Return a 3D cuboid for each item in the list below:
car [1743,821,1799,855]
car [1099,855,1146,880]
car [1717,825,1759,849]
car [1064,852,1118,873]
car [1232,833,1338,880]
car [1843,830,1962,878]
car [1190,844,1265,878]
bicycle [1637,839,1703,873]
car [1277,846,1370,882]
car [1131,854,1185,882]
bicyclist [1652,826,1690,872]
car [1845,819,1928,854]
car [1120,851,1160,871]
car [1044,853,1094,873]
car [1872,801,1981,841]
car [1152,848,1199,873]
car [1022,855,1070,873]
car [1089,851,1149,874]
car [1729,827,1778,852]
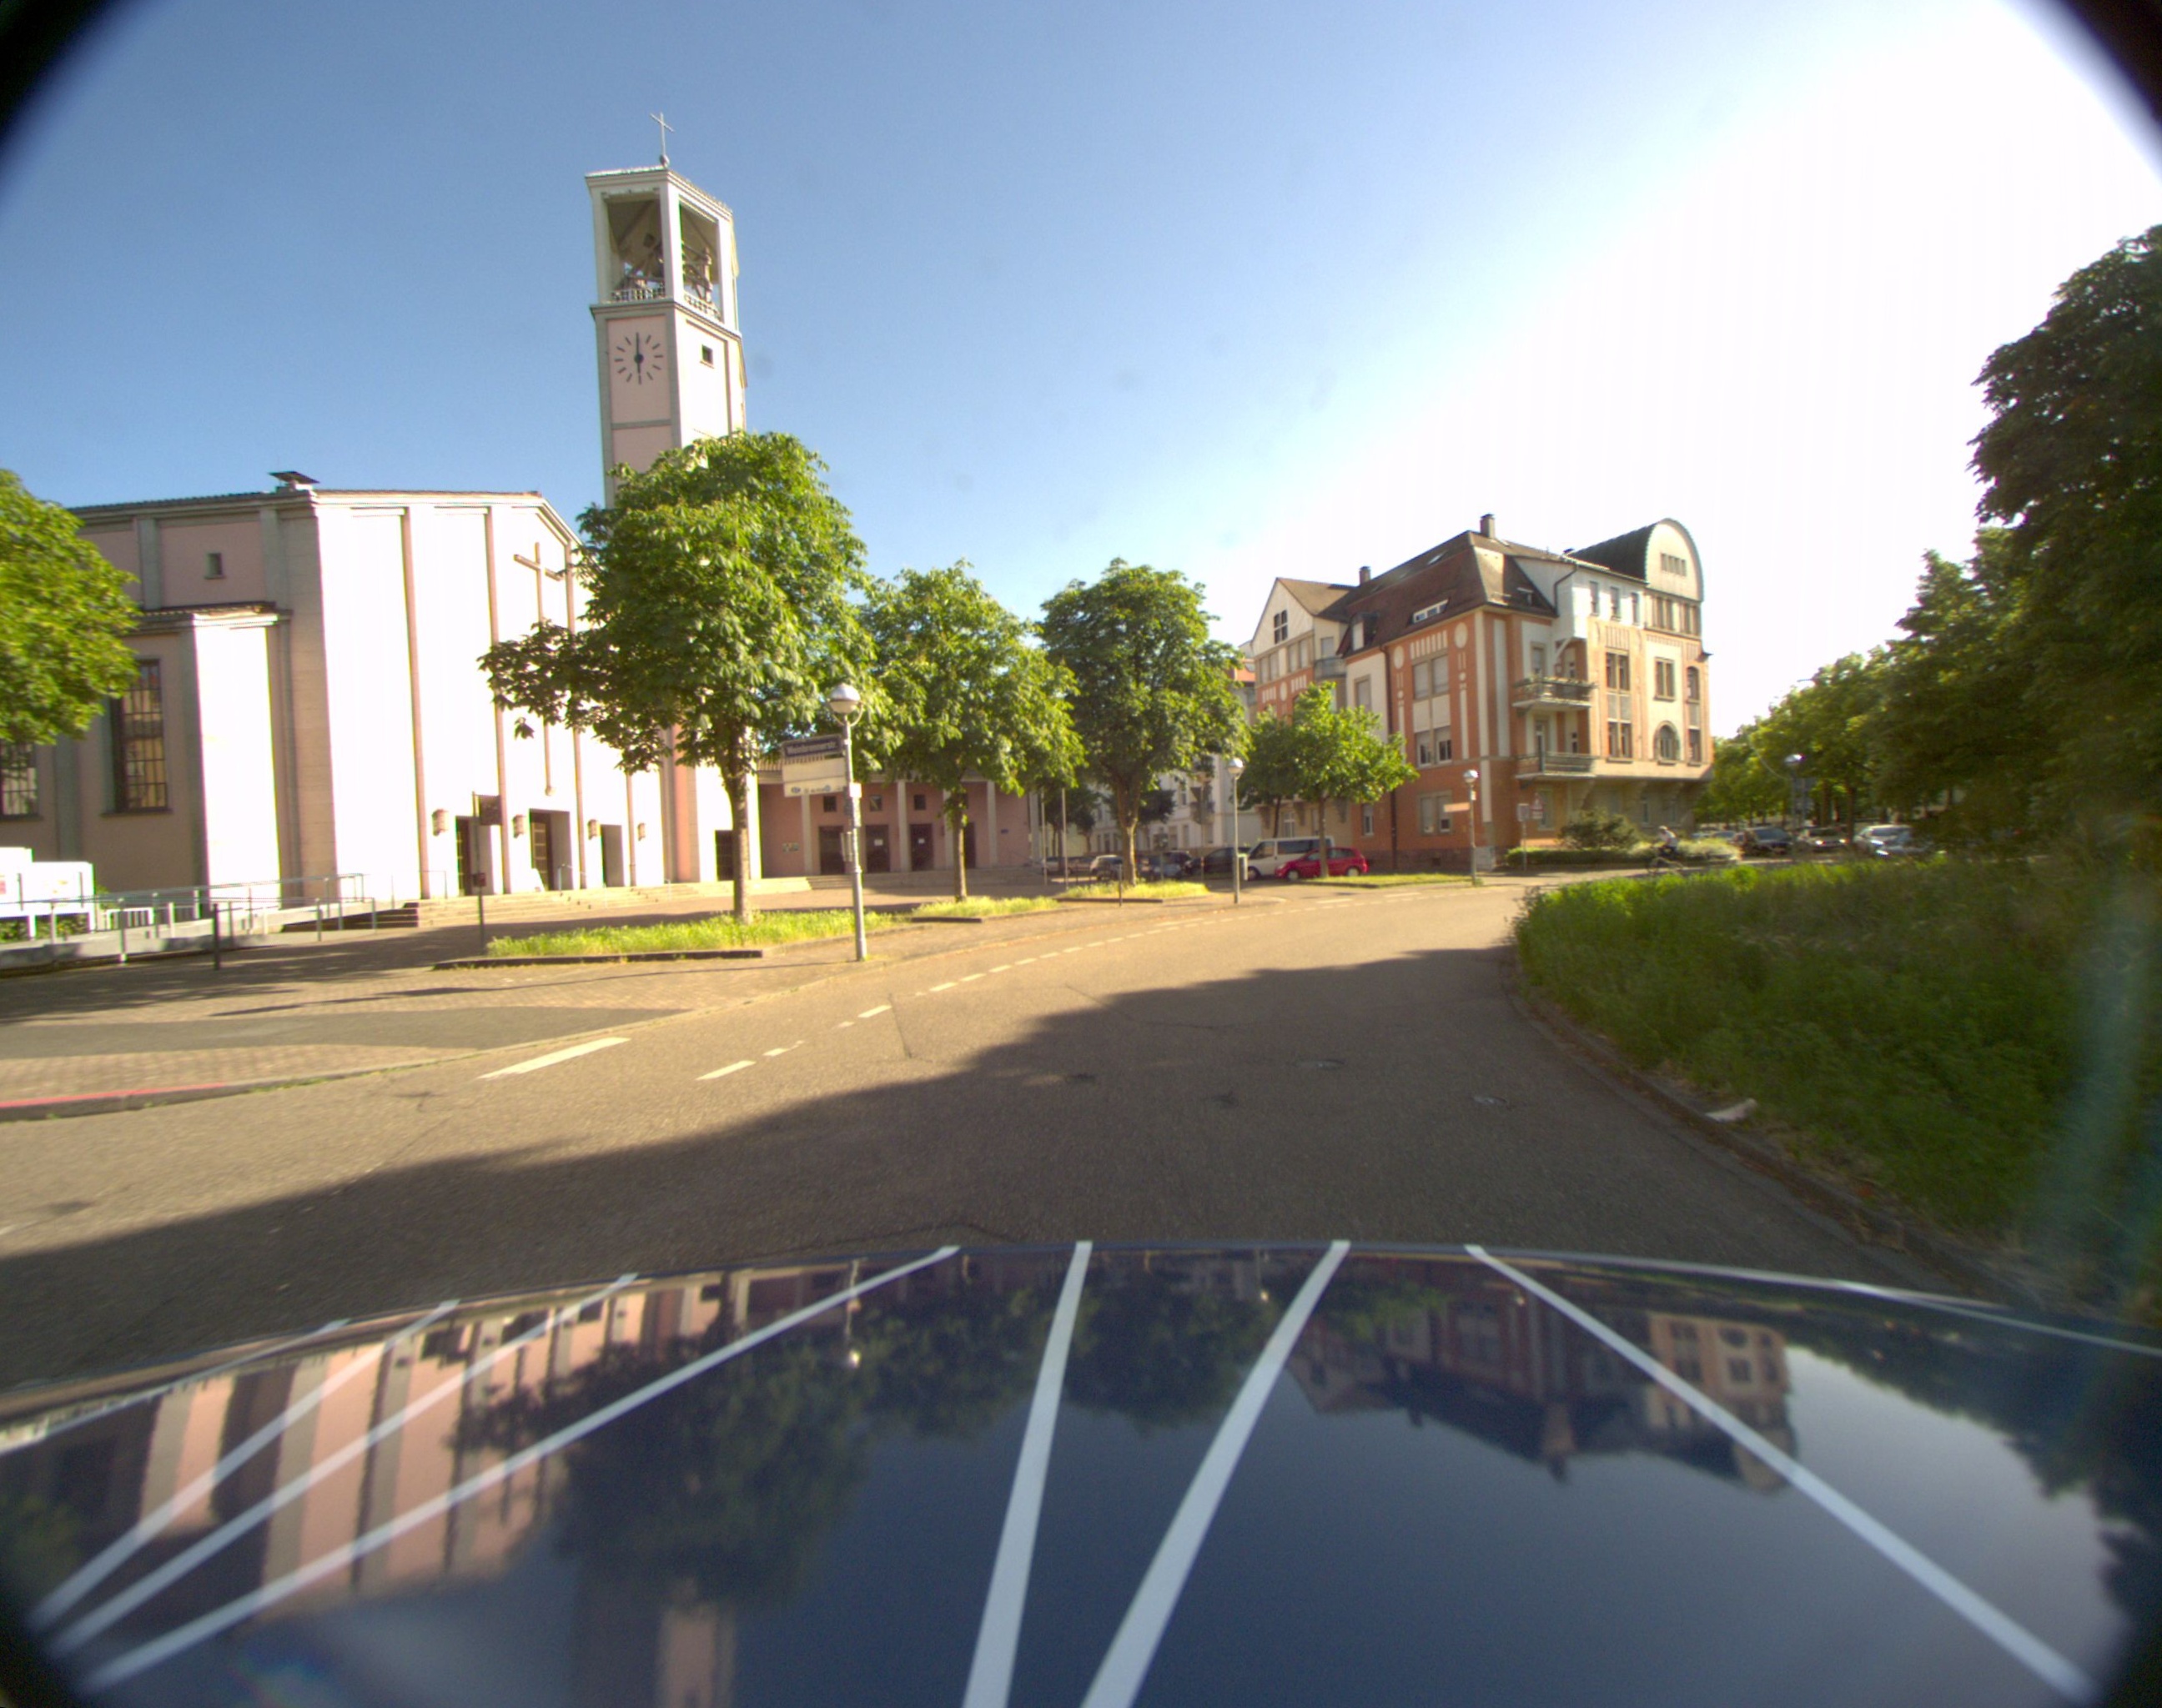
[{"bbox_3d":[40.052,-0.930,44.189,1.794,1.756,4.217,-5,-1,35],"label":"car"},{"bbox_3d":[2.504,0.809,46.413,1.615,1.414,3.608,-2,0,-18],"label":"car"},{"bbox_3d":[47.891,-1.239,55.490,1.794,1.546,4.217,-5,-1,35],"label":"car"},{"bbox_3d":[0.798,0.699,60.628,3.947,1.488,1.763,-2,1,17],"label":"car"},{"bbox_3d":[9.714,0.115,36.336,4.697,2.033,1.996,-2,1,15],"label":"car"},{"bbox_3d":[27.296,-0.026,25.419,1.793,1.426,4.217,-3,-1,35],"label":"car"},{"bbox_3d":[8.108,0.370,42.091,3.949,1.728,1.763,-2,1,12],"label":"car"},{"bbox_3d":[22.288,0.085,28.753,1.868,1.191,0.765,-3,1,0],"label":"bicycle"},{"bbox_3d":[10.603,0.417,33.437,3.690,1.427,1.670,-2,1,12],"label":"car"},{"bbox_3d":[4.202,0.729,42.048,1.615,1.414,3.608,-2,0,-18],"label":"car"},{"bbox_3d":[22.301,-0.203,28.732,0.812,1.686,0.765,-3,1,0],"label":"bicyclist"},{"bbox_3d":[37.480,-0.810,35.458,1.793,1.426,4.217,-3,-1,35],"label":"car"},{"bbox_3d":[4.621,0.536,59.807,1.762,1.447,3.949,-2,0,-17],"label":"car"},{"bbox_3d":[-1.071,0.779,66.115,3.947,1.488,1.763,-2,1,17],"label":"car"},{"bbox_3d":[57.953,-2.242,52.185,1.989,2.476,4.586,-2,0,-23],"label":"car"},{"bbox_3d":[6.719,0.449,54.352,1.762,1.648,3.949,-2,0,-17],"label":"car"},{"bbox_3d":[-3.230,0.885,69.506,3.947,1.488,1.763,-2,1,17],"label":"car"},{"bbox_3d":[2.737,0.610,54.582,3.947,1.488,1.763,-2,1,17],"label":"car"},{"bbox_3d":[43.639,-0.944,49.381,1.794,1.445,4.217,-5,-2,35],"label":"car"}]
